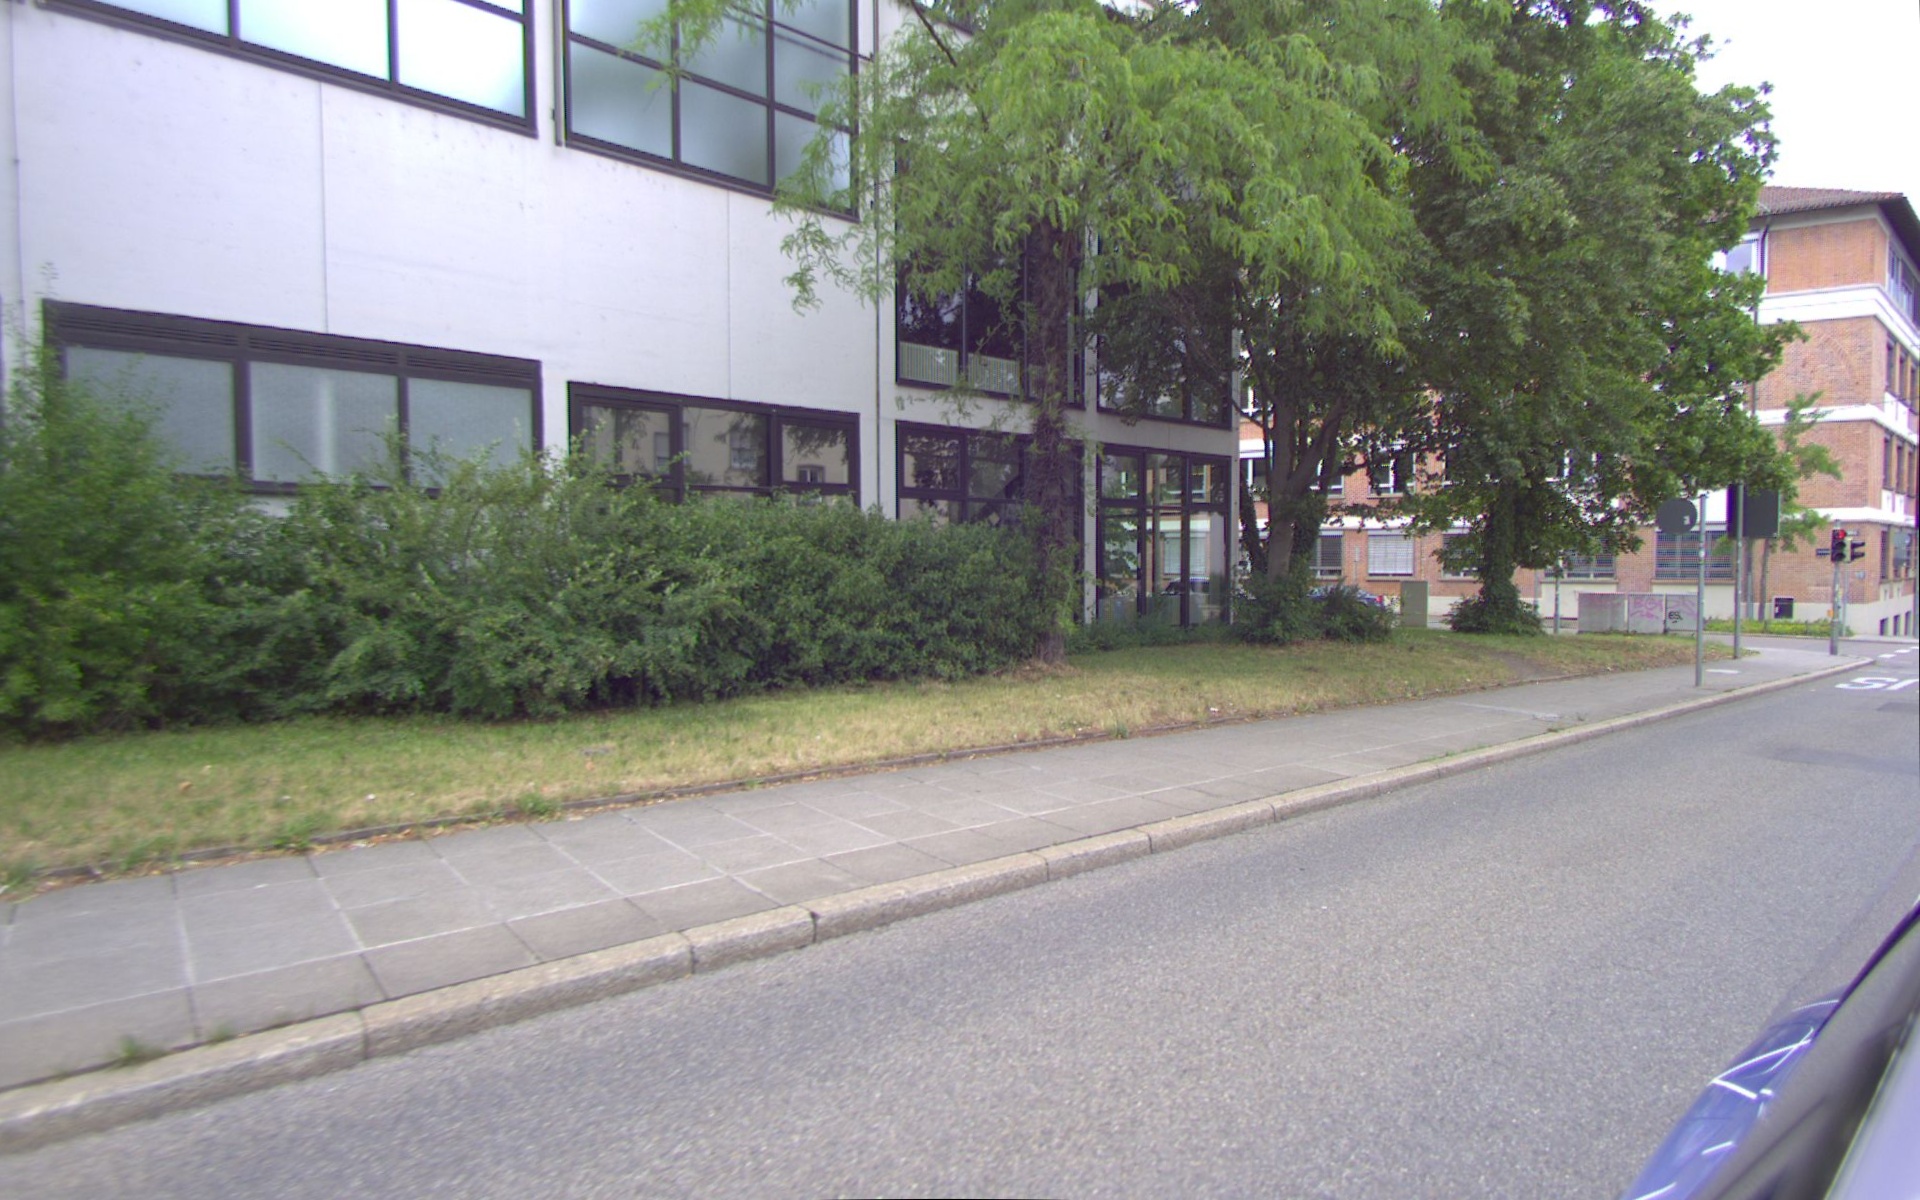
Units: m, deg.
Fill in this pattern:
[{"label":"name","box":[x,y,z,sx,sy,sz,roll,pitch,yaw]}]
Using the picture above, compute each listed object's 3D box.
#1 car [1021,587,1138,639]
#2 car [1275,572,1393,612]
[{"label":"car","box":[4.696,0.466,39.828,4.273,1.627,1.731,3,7,30]},{"label":"car","box":[15.589,-0.355,42.231,4.380,1.423,1.755,3,-1,28]}]
